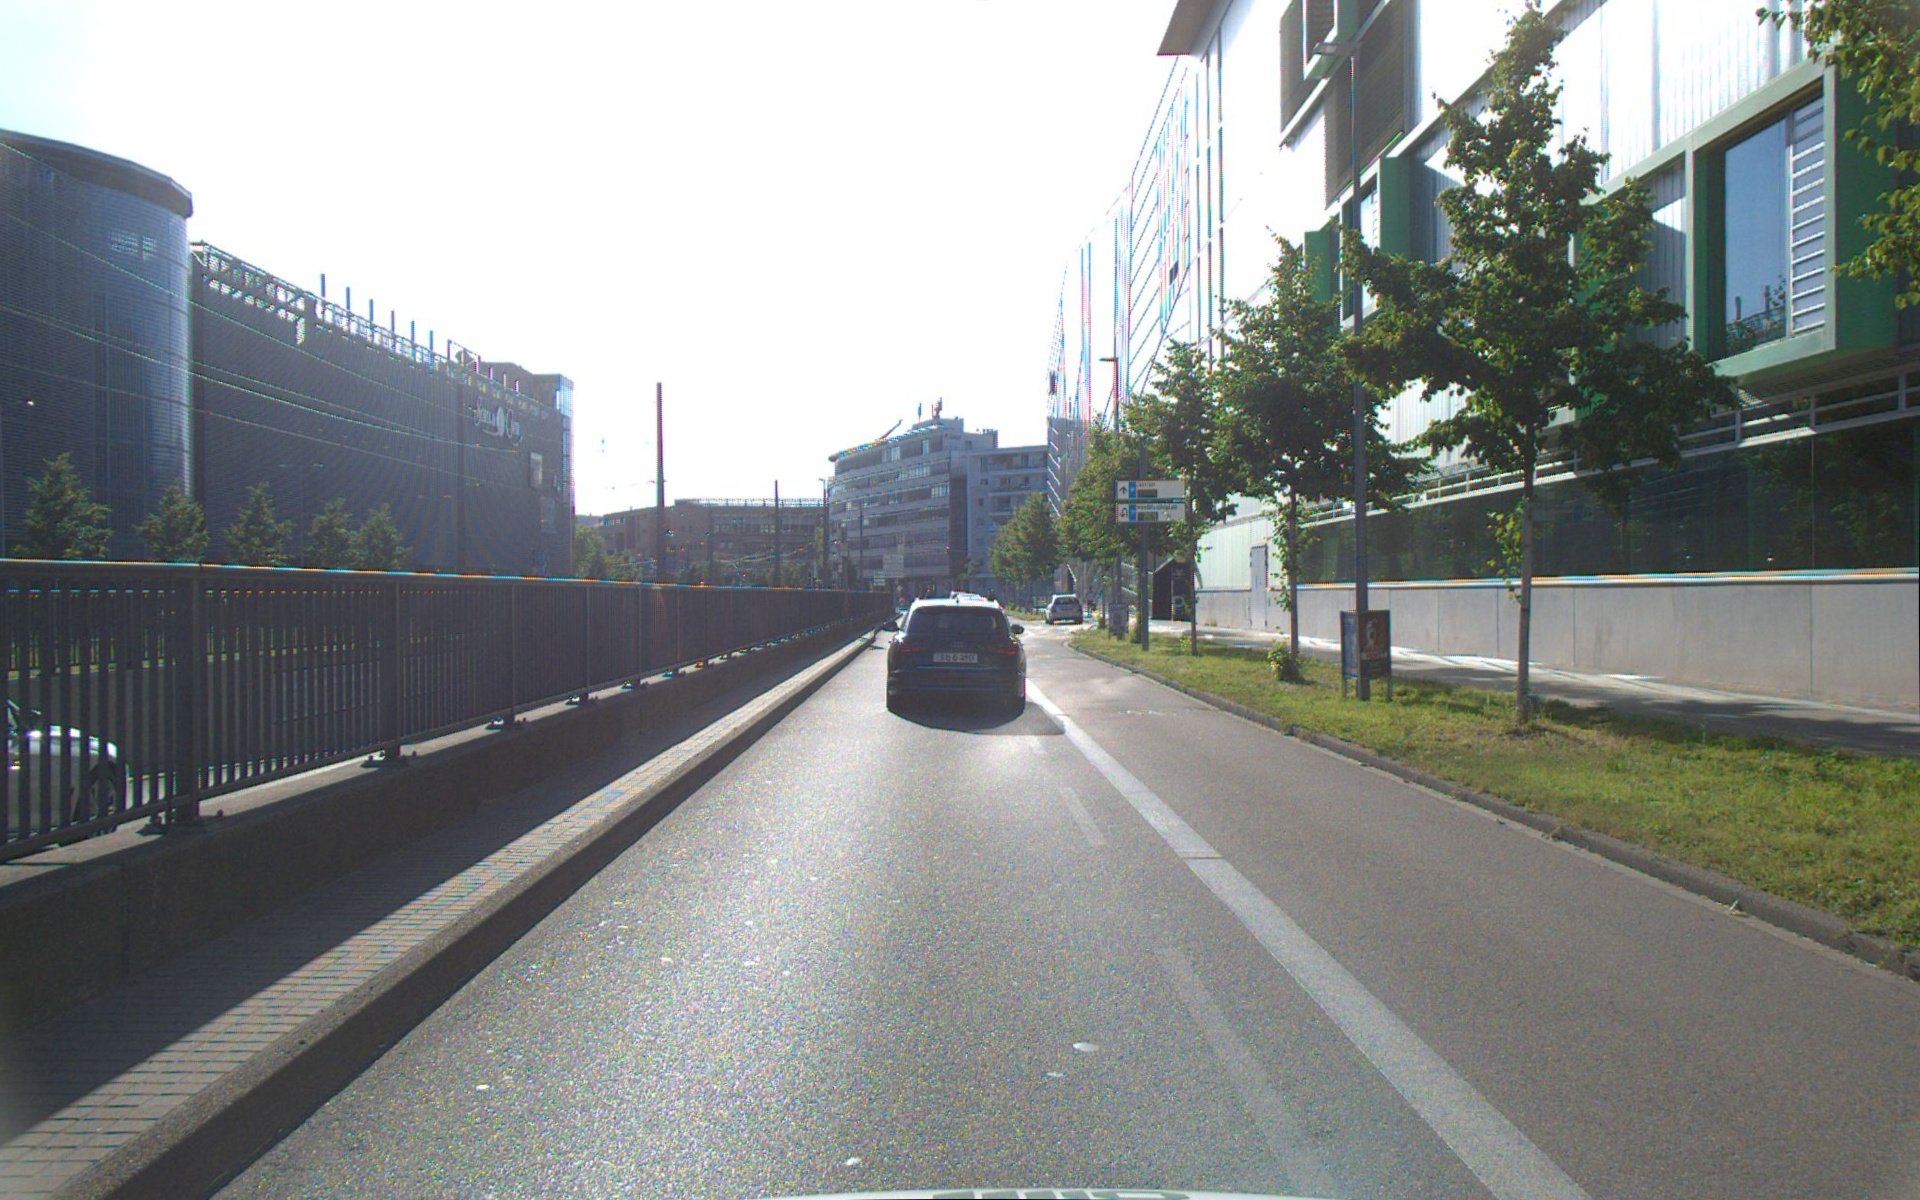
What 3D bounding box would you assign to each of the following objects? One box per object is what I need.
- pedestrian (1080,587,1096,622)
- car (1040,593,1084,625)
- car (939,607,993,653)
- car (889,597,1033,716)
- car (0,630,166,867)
[{"bbox_3d":[7.642,0.276,98.587,0.819,2.049,0.689,-1,0,0],"label":"pedestrian"},{"bbox_3d":[5.261,0.461,85.651,1.815,1.506,4.852,-2,1,-2],"label":"car"},{"bbox_3d":[0.194,1.081,60.749,1.815,1.573,3.999,1,0,-2],"label":"car"},{"bbox_3d":[-0.056,0.706,22.954,1.776,1.452,4.688,-1,0,-2],"label":"car"},{"bbox_3d":[-7.517,1.055,11.387,1.762,1.553,4.910,1,0,-1],"label":"car"}]
